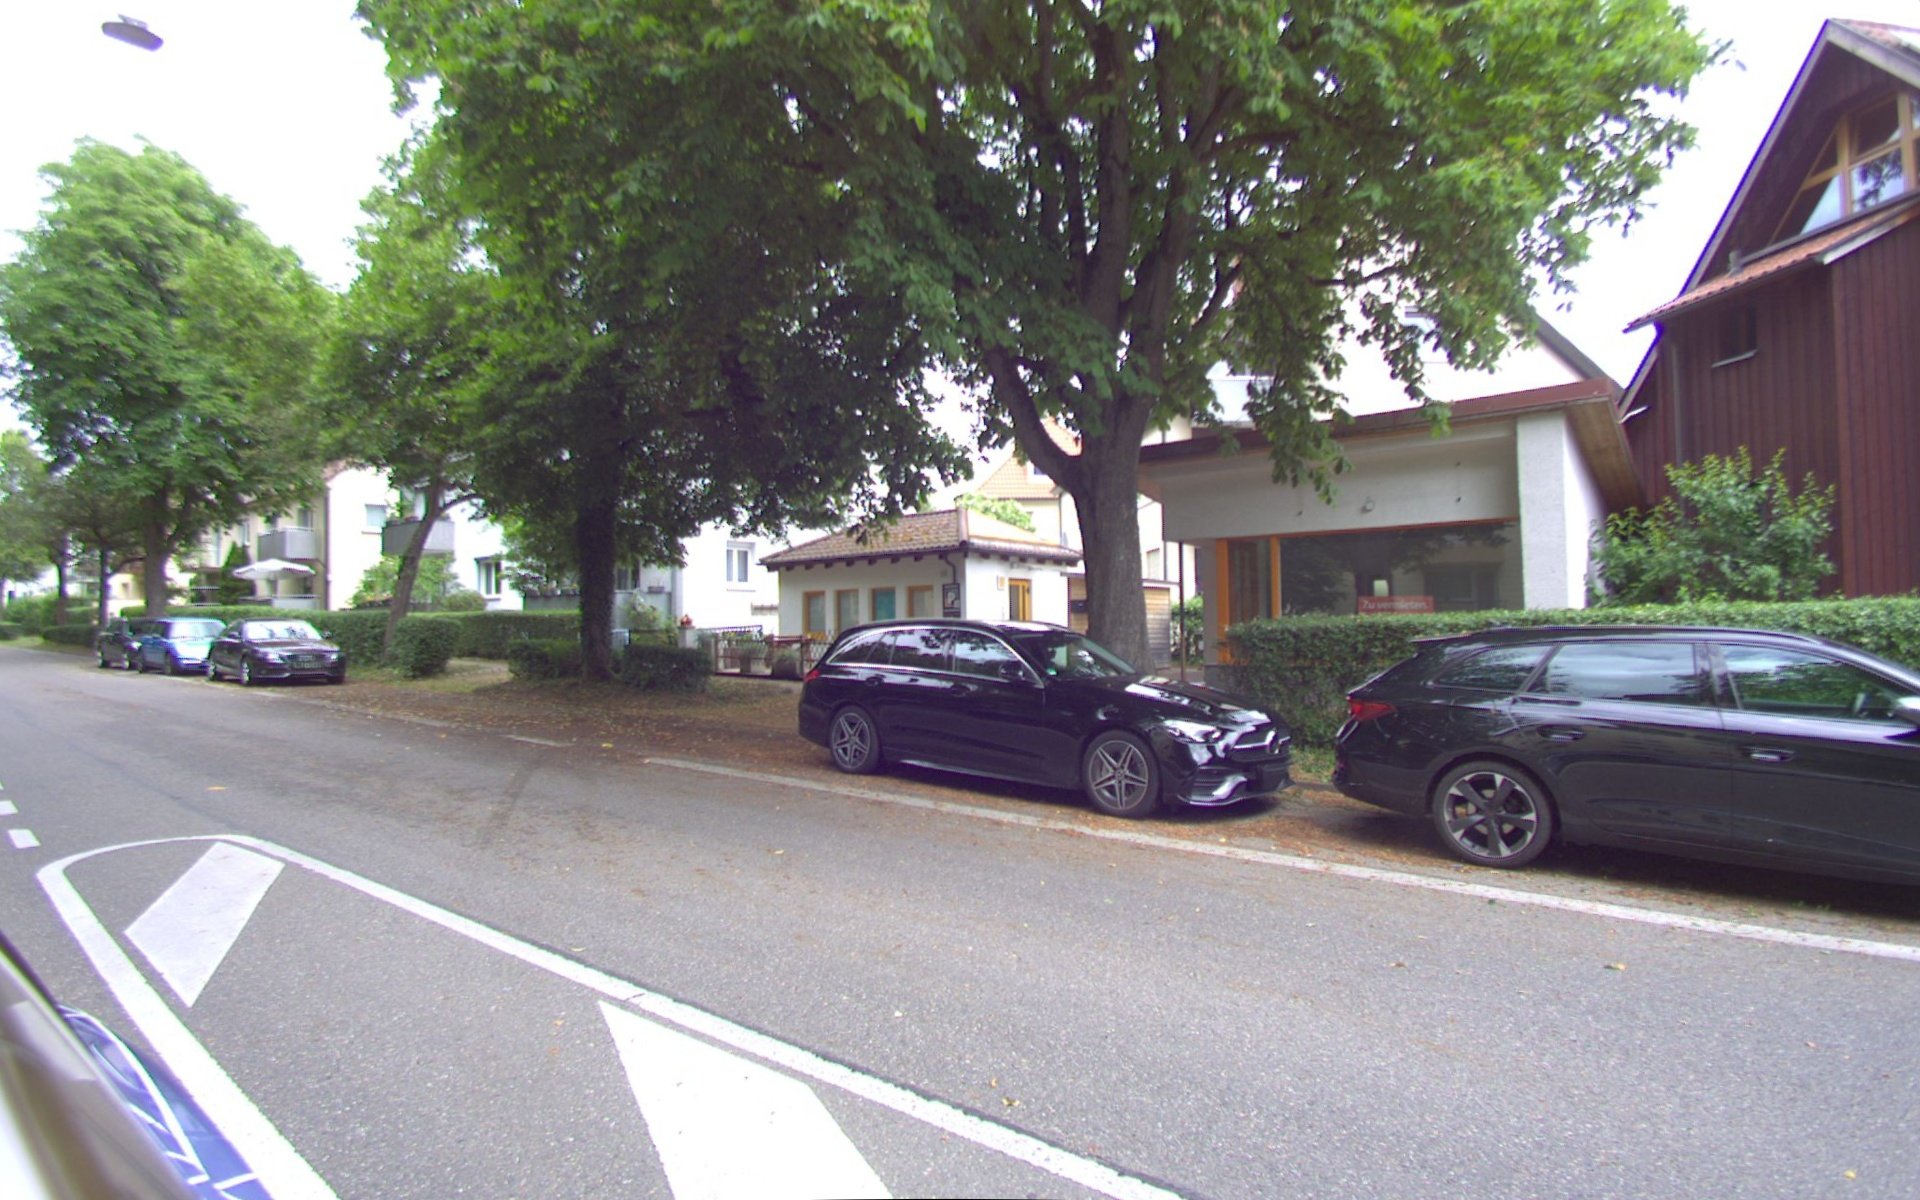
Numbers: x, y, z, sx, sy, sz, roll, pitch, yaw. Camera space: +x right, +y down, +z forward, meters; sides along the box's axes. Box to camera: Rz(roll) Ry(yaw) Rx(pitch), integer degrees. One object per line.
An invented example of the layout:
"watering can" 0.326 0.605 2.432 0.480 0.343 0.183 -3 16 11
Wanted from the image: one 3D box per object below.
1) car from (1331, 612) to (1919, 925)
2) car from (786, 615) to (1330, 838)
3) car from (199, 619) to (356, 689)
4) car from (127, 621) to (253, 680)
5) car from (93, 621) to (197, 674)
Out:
"car" 4.657 0.816 5.731 4.509 1.461 1.728 -1 -2 40
"car" 0.634 0.878 8.835 4.591 1.461 1.727 -1 -2 41
"car" -15.043 1.150 22.197 4.593 1.387 1.827 -2 -3 43
"car" -19.618 1.248 25.721 4.148 1.387 1.617 -2 -3 40
"car" -22.848 1.303 28.323 3.768 1.387 1.521 -2 -3 39
